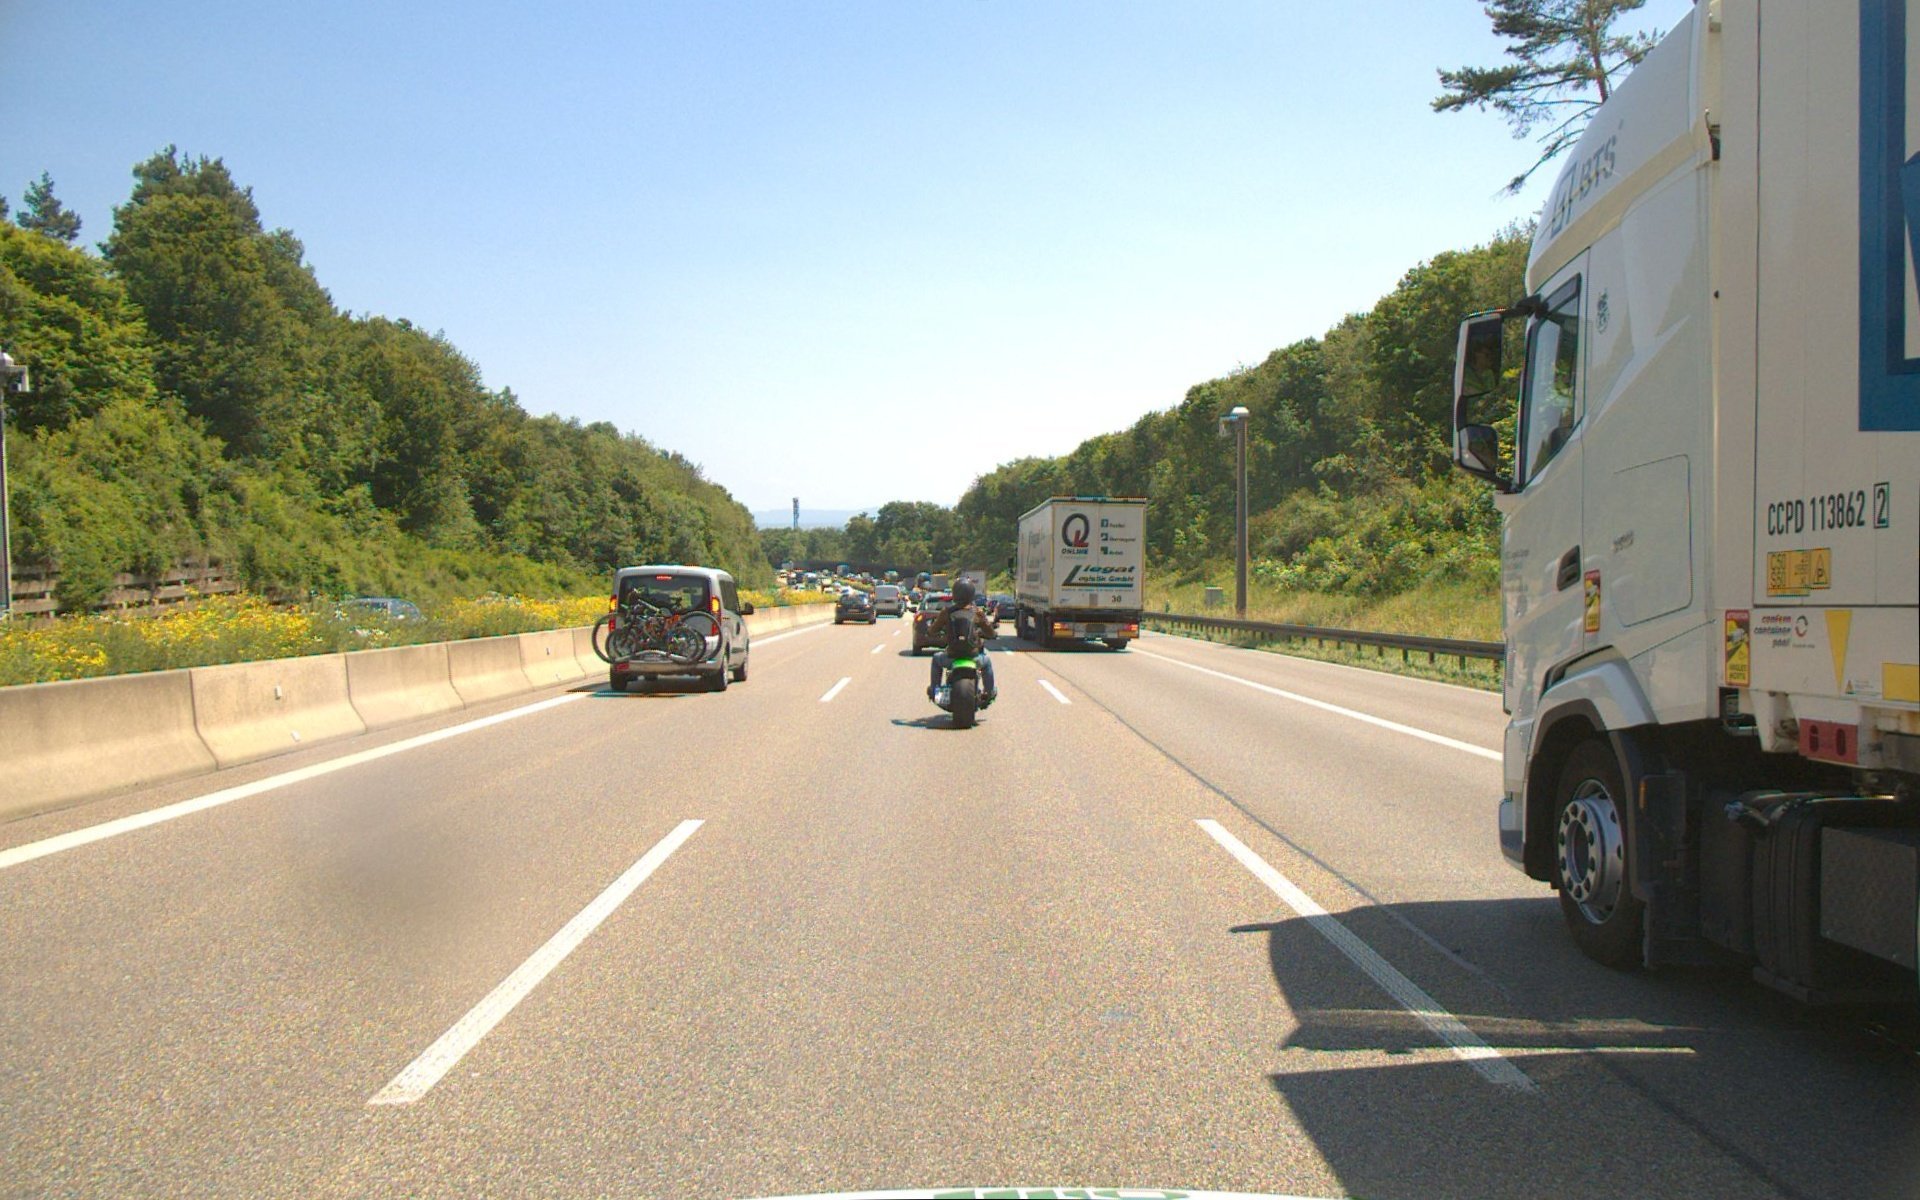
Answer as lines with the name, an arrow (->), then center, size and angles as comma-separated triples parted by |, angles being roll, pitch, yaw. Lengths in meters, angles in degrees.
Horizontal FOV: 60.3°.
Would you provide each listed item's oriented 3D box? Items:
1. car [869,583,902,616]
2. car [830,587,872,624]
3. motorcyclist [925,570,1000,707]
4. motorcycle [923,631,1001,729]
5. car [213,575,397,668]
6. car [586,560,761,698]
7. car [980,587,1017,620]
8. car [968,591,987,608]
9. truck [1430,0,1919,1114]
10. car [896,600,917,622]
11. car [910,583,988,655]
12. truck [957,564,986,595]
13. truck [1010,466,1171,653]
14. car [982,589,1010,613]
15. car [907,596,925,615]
car -> -4.432, -0.040, 98.814 | 1.794, 1.842, 4.119 | 1, 2, -1
car -> -5.013, 0.223, 76.538 | 1.722, 1.570, 4.395 | 1, 2, -1
motorcyclist -> 0.026, 0.432, 19.094 | 0.838, 1.541, 0.914 | 0, 0, 0
motorcycle -> 0.022, 0.900, 19.203 | 0.844, 0.999, 2.131 | 0, 1, 0
car -> -11.836, 0.347, 30.181 | 1.752, 1.548, 4.202 | -1, 1, -2
car -> -4.327, 0.342, 25.847 | 1.860, 1.880, 5.482 | 1, 2, -1
car -> 2.039, 0.172, 88.458 | 1.794, 1.585, 4.119 | 1, 2, -1
car -> 1.776, -0.072, 168.786 | 1.794, 1.585, 4.119 | 1, 2, -1
truck -> 3.946, -0.637, 3.704 | 2.625, 4.130, 10.625 | 1, 1, -1
car -> -4.775, 0.964, 149.060 | 1.794, 1.842, 4.119 | 1, 2, -1
car -> -0.293, 0.430, 41.032 | 1.808, 1.584, 4.439 | 1, 2, -1
truck -> 1.304, -2.427, 191.671 | 3.005, 3.404, 9.651 | 2, 1, -1
truck -> 3.676, -1.256, 52.139 | 3.314, 4.800, 17.707 | 2, 1, -1
car -> 2.523, 0.053, 116.183 | 1.794, 1.585, 4.119 | 1, 2, -1
car -> -4.535, 0.535, 169.308 | 1.794, 1.842, 4.119 | 1, 2, -1
